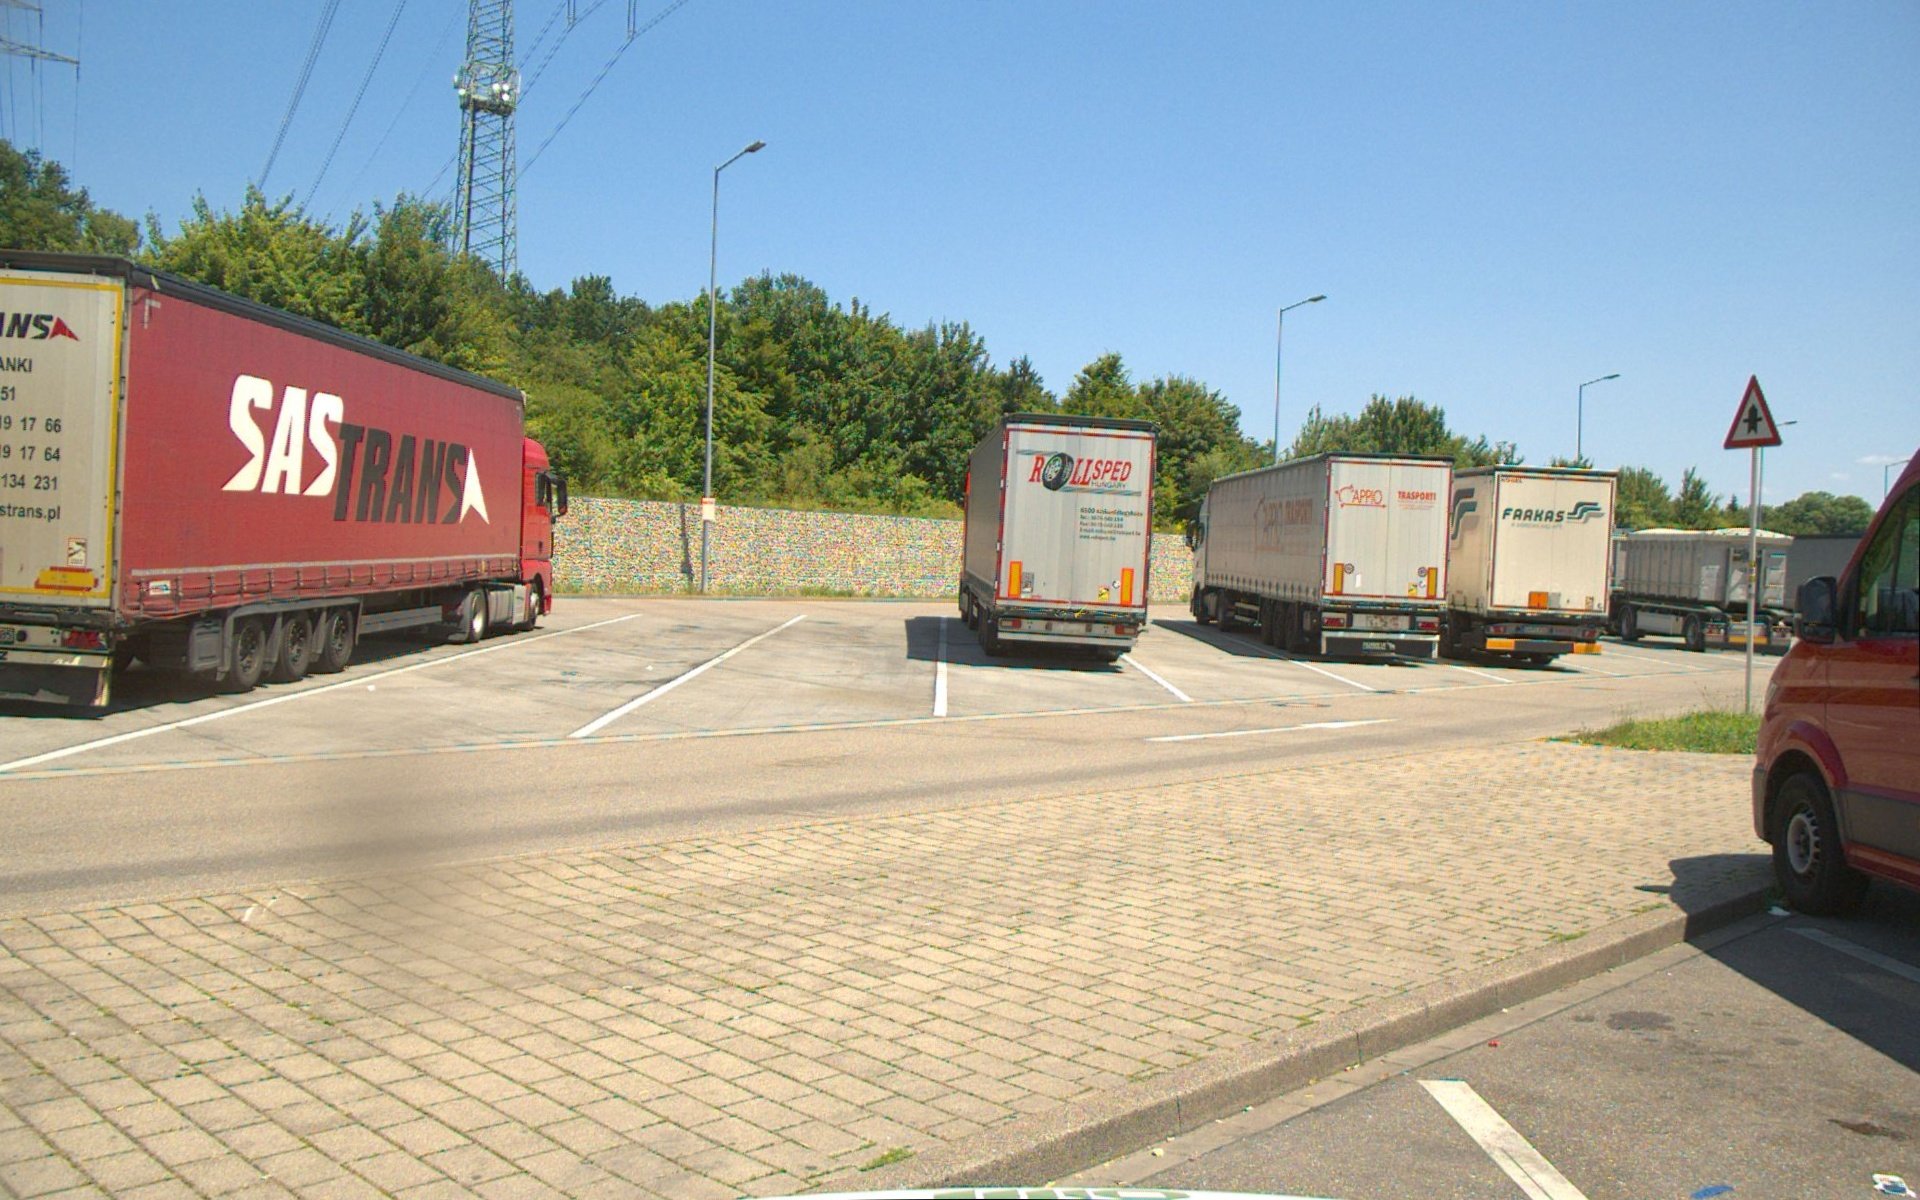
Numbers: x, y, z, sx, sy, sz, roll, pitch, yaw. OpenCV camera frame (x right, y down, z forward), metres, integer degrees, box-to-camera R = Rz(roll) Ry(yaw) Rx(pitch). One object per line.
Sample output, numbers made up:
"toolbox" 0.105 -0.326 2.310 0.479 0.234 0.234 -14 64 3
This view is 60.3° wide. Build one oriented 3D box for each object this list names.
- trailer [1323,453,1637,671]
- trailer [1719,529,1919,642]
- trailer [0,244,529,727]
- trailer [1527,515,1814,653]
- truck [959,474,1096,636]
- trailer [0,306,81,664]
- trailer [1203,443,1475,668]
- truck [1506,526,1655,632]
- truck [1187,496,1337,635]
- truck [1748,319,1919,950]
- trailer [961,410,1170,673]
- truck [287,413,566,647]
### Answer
"trailer" 11.773 -0.990 39.553 2.800 4.180 13.762 2 2 -1
"trailer" 34.796 -0.709 65.428 2.800 3.972 13.762 2 2 -1
"trailer" -8.689 -1.268 21.241 2.764 4.141 13.763 2 2 -1
"trailer" 21.841 -0.680 52.231 2.800 3.662 13.762 2 2 -1
"truck" 1.479 -1.090 39.334 2.808 3.421 5.974 2 2 -1
"trailer" -12.487 -1.256 15.785 2.651 4.173 10.389 2 2 -1
"trailer" 8.253 -1.100 38.489 2.800 4.180 13.762 2 2 -1
"truck" 21.744 -0.794 58.326 2.808 3.421 5.974 2 2 -1
"truck" 8.131 -0.983 45.252 2.808 3.421 5.974 2 2 -1
"truck" 4.993 0.158 5.505 1.969 2.697 6.457 1 0 3
"trailer" 1.679 -1.174 33.137 2.800 4.040 13.761 2 2 -2
"truck" -8.797 -1.160 28.057 2.755 3.421 5.974 2 2 -1
